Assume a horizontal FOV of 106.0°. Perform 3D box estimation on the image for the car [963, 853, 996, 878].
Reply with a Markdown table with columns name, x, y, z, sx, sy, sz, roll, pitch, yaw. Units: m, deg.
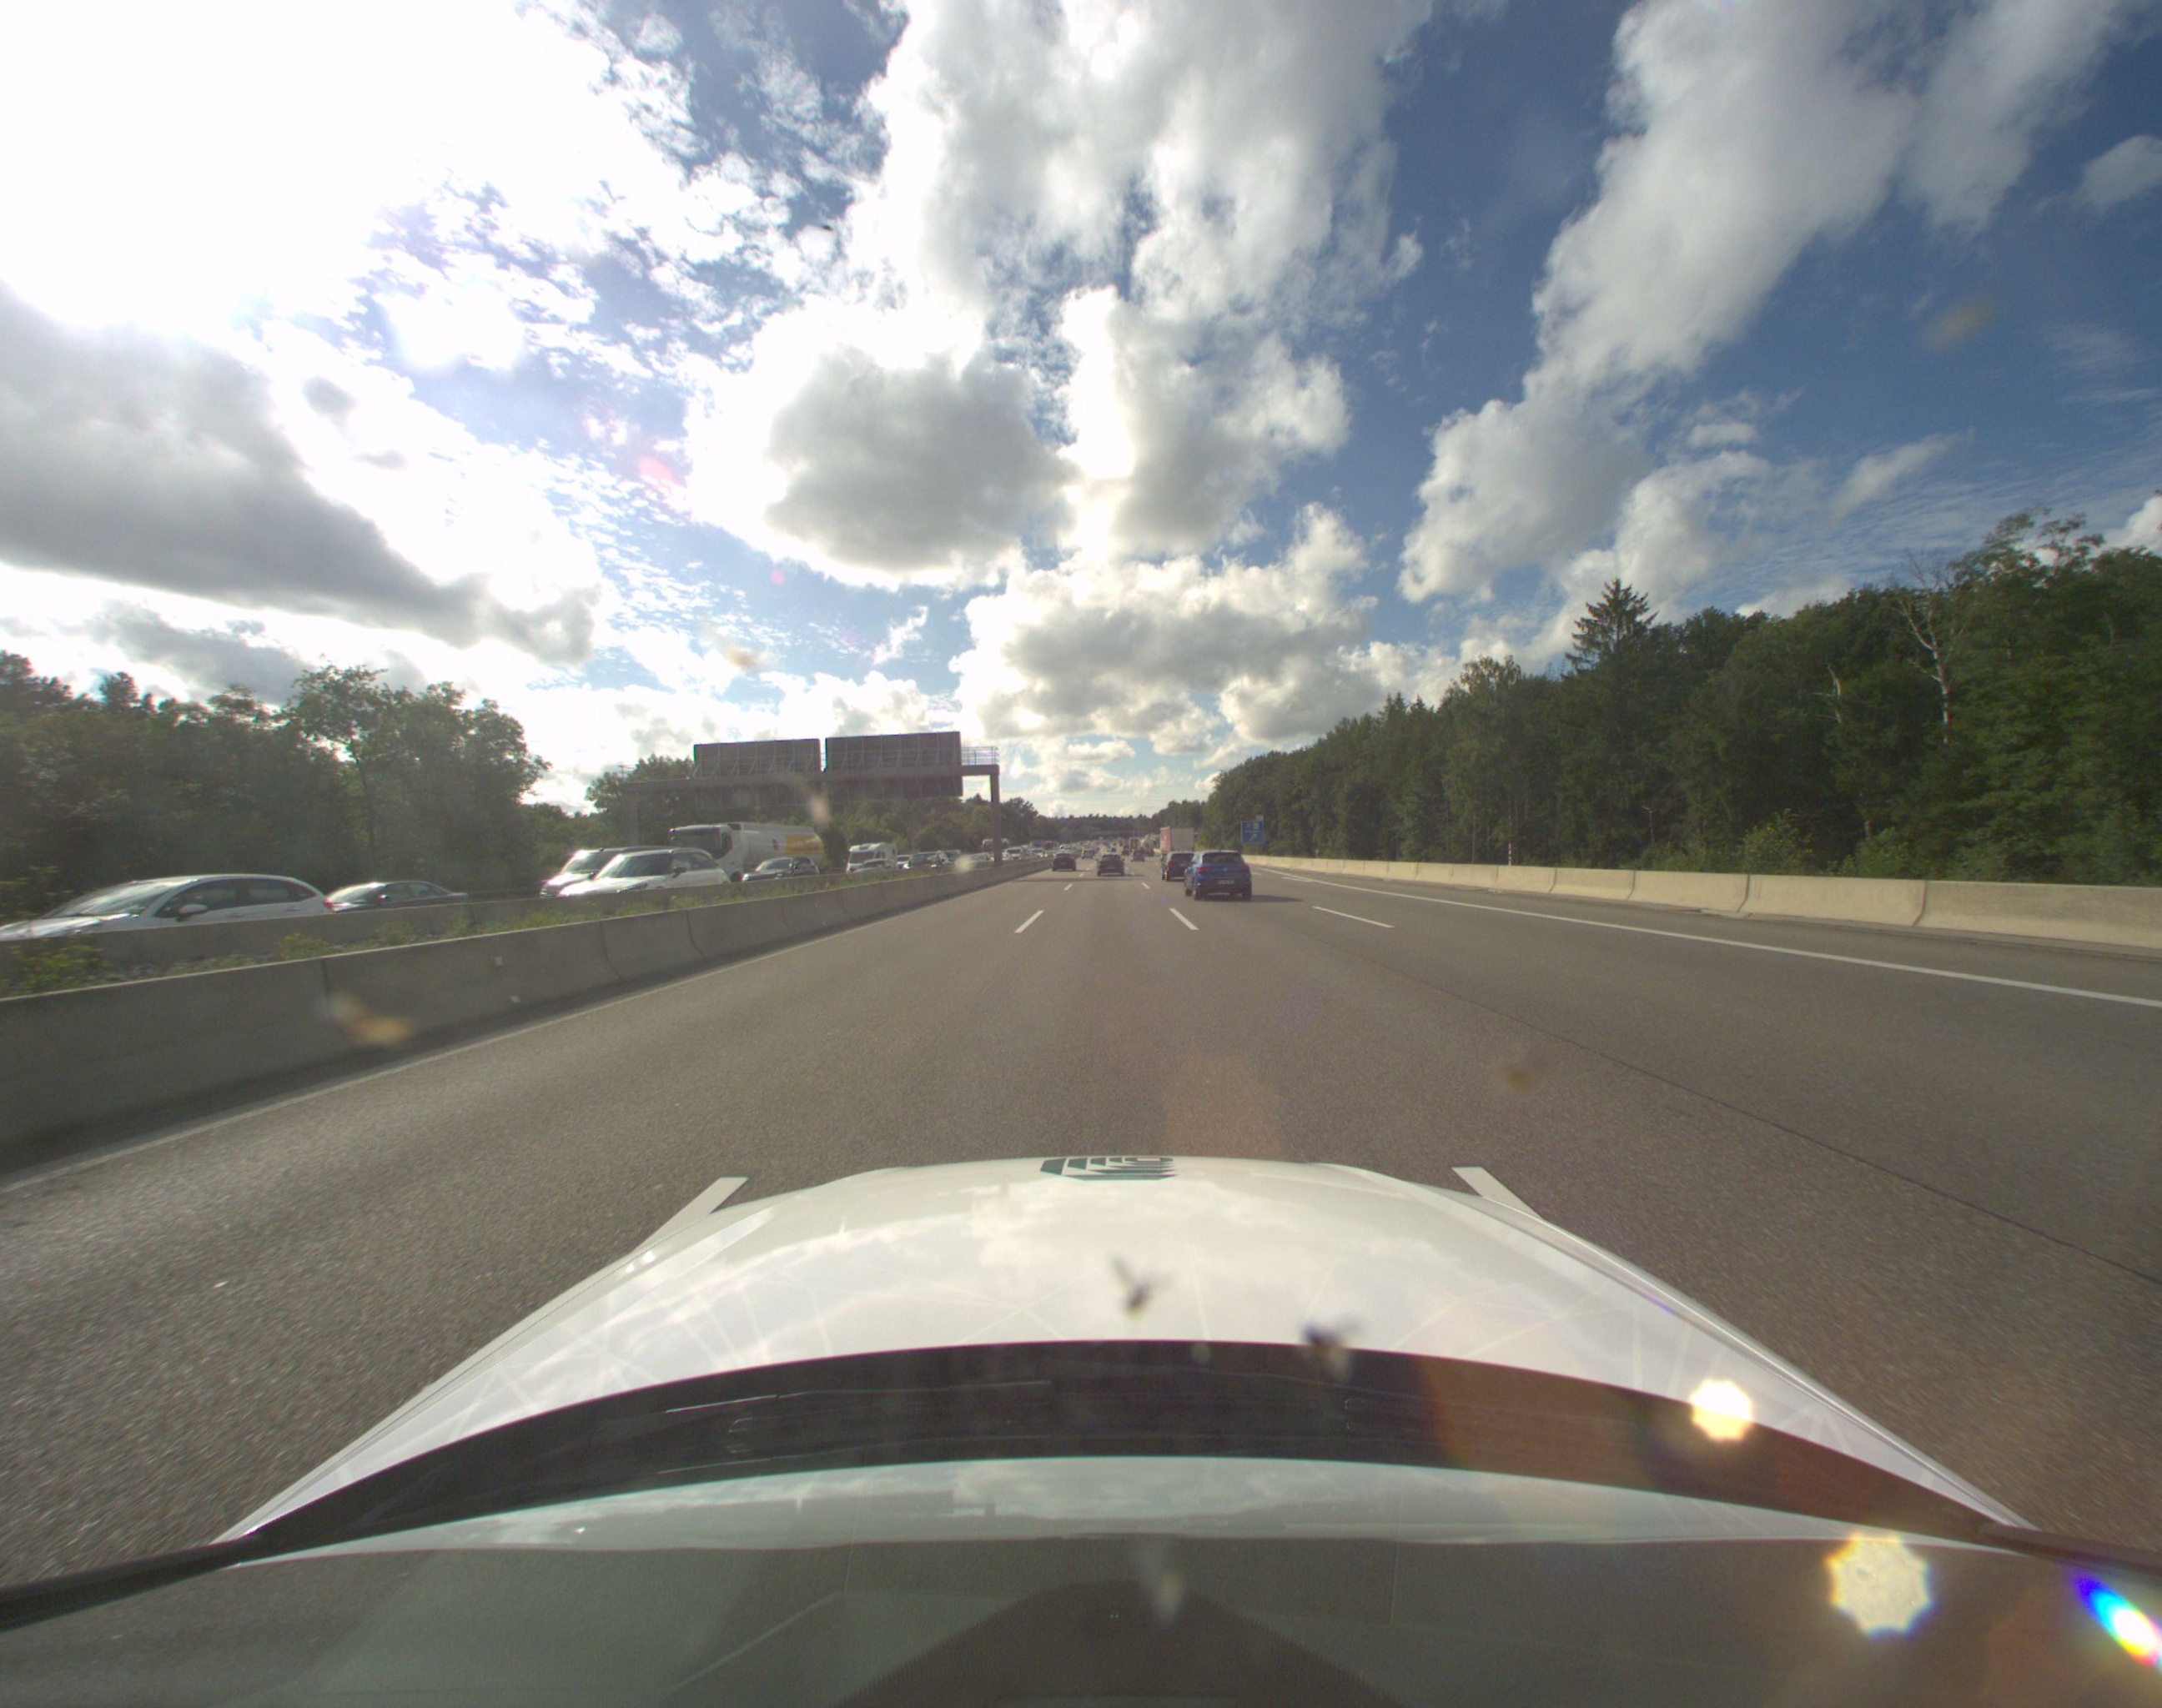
| name | x | y | z | sx | sy | sz | roll | pitch | yaw |
| --- | --- | --- | --- | --- | --- | --- | --- | --- | --- |
| car | -7.904 | 0.866 | 63.794 | 1.760 | 1.798 | 4.940 | -1 | 0 | 2 |

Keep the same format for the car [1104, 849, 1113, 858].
| name | x | y | z | sx | sy | sz | roll | pitch | yaw |
| --- | --- | --- | --- | --- | --- | --- | --- | --- | --- |
| car | 6.458 | -0.051 | 188.992 | 1.986 | 2.014 | 4.001 | -2 | -1 | 1 |

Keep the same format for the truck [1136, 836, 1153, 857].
| name | x | y | z | sx | sy | sz | roll | pitch | yaw |
| --- | --- | --- | --- | --- | --- | --- | --- | --- | --- |
| truck | 13.165 | -1.472 | 168.558 | 3.034 | 4.160 | 7.129 | -1 | 0 | 2 |

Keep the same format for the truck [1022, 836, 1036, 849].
| name | x | y | z | sx | sy | sz | roll | pitch | yaw |
| --- | --- | --- | --- | --- | --- | --- | --- | --- | --- |
| truck | -11.608 | -2.513 | 182.625 | 2.319 | 2.801 | 7.952 | 0 | 1 | 1 |

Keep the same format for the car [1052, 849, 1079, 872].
| name | x | y | z | sx | sy | sz | roll | pitch | yaw |
| --- | --- | --- | --- | --- | --- | --- | --- | --- | --- |
| car | -1.279 | 0.512 | 67.406 | 1.986 | 1.776 | 4.002 | -1 | 0 | 2 |

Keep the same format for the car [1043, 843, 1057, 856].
| name | x | y | z | sx | sy | sz | roll | pitch | yaw |
| --- | --- | --- | --- | --- | --- | --- | --- | --- | --- |
| car | -5.284 | -0.802 | 137.780 | 1.986 | 2.014 | 4.412 | -2 | -1 | 2 |

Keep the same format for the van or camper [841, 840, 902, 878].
| name | x | y | z | sx | sy | sz | roll | pitch | yaw |
| --- | --- | --- | --- | --- | --- | --- | --- | --- | --- |
| van or camper | -15.441 | 0.400 | 60.443 | 2.316 | 2.643 | 7.400 | -1 | -1 | 2 |

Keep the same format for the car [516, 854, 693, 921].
| name | x | y | z | sx | sy | sz | roll | pitch | yaw |
| --- | --- | --- | --- | --- | --- | --- | --- | --- | --- |
| car | -12.920 | 0.823 | 22.520 | 2.000 | 1.655 | 4.784 | 0 | 0 | 1 |

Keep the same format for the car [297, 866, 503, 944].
| name | x | y | z | sx | sy | sz | roll | pitch | yaw |
| --- | --- | --- | --- | --- | --- | --- | --- | --- | --- |
| car | -16.328 | 1.159 | 19.799 | 1.825 | 1.655 | 3.699 | 0 | 0 | 1 |

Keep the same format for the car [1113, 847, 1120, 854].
| name | x | y | z | sx | sy | sz | roll | pitch | yaw |
| --- | --- | --- | --- | --- | --- | --- | --- | --- | --- |
| car | 10.584 | -0.959 | 245.218 | 1.986 | 2.013 | 4.002 | 0 | 0 | 1 |

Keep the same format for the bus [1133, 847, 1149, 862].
| name | x | y | z | sx | sy | sz | roll | pitch | yaw |
| --- | --- | --- | --- | --- | --- | --- | --- | --- | --- |
| bus | 7.917 | 0.089 | 108.389 | 1.986 | 2.014 | 4.002 | -1 | -1 | 2 |

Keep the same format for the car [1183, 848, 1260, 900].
| name | x | y | z | sx | sy | sz | roll | pitch | yaw |
| --- | --- | --- | --- | --- | --- | --- | --- | --- | --- |
| car | 4.493 | 0.595 | 26.739 | 1.916 | 1.541 | 4.648 | 0 | 0 | 2 |

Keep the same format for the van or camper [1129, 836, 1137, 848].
| name | x | y | z | sx | sy | sz | roll | pitch | yaw |
| --- | --- | --- | --- | --- | --- | --- | --- | --- | --- |
| van or camper | 14.585 | -3.252 | 228.290 | 2.342 | 3.144 | 5.714 | -1 | -1 | 3 |

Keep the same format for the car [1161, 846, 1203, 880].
| name | x | y | z | sx | sy | sz | roll | pitch | yaw |
| --- | --- | --- | --- | --- | --- | --- | --- | --- | --- |
| car | 5.112 | 0.437 | 41.692 | 1.792 | 1.644 | 4.002 | 0 | 0 | 2 |

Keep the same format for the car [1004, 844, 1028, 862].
| name | x | y | z | sx | sy | sz | roll | pitch | yaw |
| --- | --- | --- | --- | --- | --- | --- | --- | --- | --- |
| car | -6.730 | -0.044 | 84.910 | 2.079 | 1.801 | 4.180 | -1 | -1 | 1 |

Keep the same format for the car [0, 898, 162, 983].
| name | x | y | z | sx | sy | sz | roll | pitch | yaw |
| --- | --- | --- | --- | --- | --- | --- | --- | --- | --- |
| car | -24.101 | 1.948 | 18.261 | 1.825 | 1.655 | 4.483 | -1 | 0 | 1 |

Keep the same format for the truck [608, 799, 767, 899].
| name | x | y | z | sx | sy | sz | roll | pitch | yaw |
| --- | --- | --- | --- | --- | --- | --- | --- | --- | --- |
| truck | -16.789 | -0.217 | 35.418 | 3.404 | 3.900 | 6.804 | -1 | 0 | 1 |

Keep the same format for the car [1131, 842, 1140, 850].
| name | x | y | z | sx | sy | sz | roll | pitch | yaw |
| --- | --- | --- | --- | --- | --- | --- | --- | --- | --- |
| car | 13.115 | -1.917 | 196.204 | 1.986 | 2.014 | 4.001 | -1 | -1 | 1 |

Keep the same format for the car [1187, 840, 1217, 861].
| name | x | y | z | sx | sy | sz | roll | pitch | yaw |
| --- | --- | --- | --- | --- | --- | --- | --- | --- | --- |
| car | 9.018 | -0.262 | 61.025 | 1.708 | 1.511 | 4.305 | -2 | 0 | 2 |

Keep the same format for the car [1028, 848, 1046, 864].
| name | x | y | z | sx | sy | sz | roll | pitch | yaw |
| --- | --- | --- | --- | --- | --- | --- | --- | --- | --- |
| car | -6.052 | 0.296 | 112.468 | 1.986 | 2.100 | 5.280 | -1 | -1 | 2 |

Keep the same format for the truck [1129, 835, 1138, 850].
| name | x | y | z | sx | sy | sz | roll | pitch | yaw |
| --- | --- | --- | --- | --- | --- | --- | --- | --- | --- |
| truck | 14.271 | -3.070 | 221.946 | 2.348 | 3.572 | 11.274 | -1 | -1 | 3 |

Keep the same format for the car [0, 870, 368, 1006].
| name | x | y | z | sx | sy | sz | roll | pitch | yaw |
| --- | --- | --- | --- | --- | --- | --- | --- | --- | --- |
| car | -13.261 | 1.055 | 11.923 | 1.825 | 1.537 | 4.244 | 0 | 0 | 1 |

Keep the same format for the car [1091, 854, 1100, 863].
| name | x | y | z | sx | sy | sz | roll | pitch | yaw |
| --- | --- | --- | --- | --- | --- | --- | --- | --- | --- |
| car | 3.097 | 0.998 | 176.043 | 1.986 | 2.014 | 4.001 | -1 | -1 | 1 |

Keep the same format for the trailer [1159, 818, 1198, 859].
| name | x | y | z | sx | sy | sz | roll | pitch | yaw |
| --- | --- | --- | --- | --- | --- | --- | --- | --- | --- |
| trailer | 10.552 | -1.569 | 89.652 | 3.027 | 4.035 | 13.894 | -1 | -1 | 2 |

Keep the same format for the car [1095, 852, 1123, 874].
| name | x | y | z | sx | sy | sz | roll | pitch | yaw |
| --- | --- | --- | --- | --- | --- | --- | --- | --- | --- |
| car | 1.810 | 0.590 | 53.043 | 1.728 | 1.365 | 4.000 | 0 | 0 | 1 |

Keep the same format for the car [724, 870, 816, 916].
| name | x | y | z | sx | sy | sz | roll | pitch | yaw |
| --- | --- | --- | --- | --- | --- | --- | --- | --- | --- |
| car | -12.522 | 1.539 | 33.120 | 1.793 | 1.631 | 4.664 | 0 | 0 | 2 |

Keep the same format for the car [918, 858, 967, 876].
| name | x | y | z | sx | sy | sz | roll | pitch | yaw |
| --- | --- | --- | --- | --- | --- | --- | --- | --- | --- |
| car | -7.790 | 0.721 | 46.354 | 1.661 | 0.927 | 5.465 | -1 | 0 | 2 |

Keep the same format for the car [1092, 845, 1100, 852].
| name | x | y | z | sx | sy | sz | roll | pitch | yaw |
| --- | --- | --- | --- | --- | --- | --- | --- | --- | --- |
| car | 4.035 | -1.470 | 216.374 | 1.986 | 2.013 | 4.002 | 0 | 0 | 1 |

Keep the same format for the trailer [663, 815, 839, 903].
| name | x | y | z | sx | sy | sz | roll | pitch | yaw |
| --- | --- | --- | --- | --- | --- | --- | --- | --- | --- |
| trailer | -16.577 | 0.192 | 42.658 | 3.399 | 3.828 | 13.265 | -1 | 0 | 2 |

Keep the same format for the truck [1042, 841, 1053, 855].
| name | x | y | z | sx | sy | sz | roll | pitch | yaw |
| --- | --- | --- | --- | --- | --- | --- | --- | --- | --- |
| truck | -10.112 | -1.870 | 245.223 | 2.766 | 3.938 | 6.854 | -1 | 1 | 1 |

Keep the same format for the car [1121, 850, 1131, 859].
| name | x | y | z | sx | sy | sz | roll | pitch | yaw |
| --- | --- | --- | --- | --- | --- | --- | --- | --- | --- |
| car | 9.653 | 0.085 | 174.242 | 1.986 | 2.013 | 4.001 | 0 | 0 | 1 |

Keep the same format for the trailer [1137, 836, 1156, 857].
| name | x | y | z | sx | sy | sz | roll | pitch | yaw |
| --- | --- | --- | --- | --- | --- | --- | --- | --- | --- |
| trailer | 13.005 | -1.362 | 162.871 | 3.025 | 4.016 | 12.248 | -1 | 0 | 1 |

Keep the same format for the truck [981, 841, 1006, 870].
| name | x | y | z | sx | sy | sz | roll | pitch | yaw |
| --- | --- | --- | --- | --- | --- | --- | --- | --- | --- |
| truck | -13.345 | 0.194 | 124.567 | 2.842 | 4.234 | 5.715 | 0 | 0 | 2 |

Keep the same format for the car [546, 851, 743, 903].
| name | x | y | z | sx | sy | sz | roll | pitch | yaw |
| --- | --- | --- | --- | --- | --- | --- | --- | --- | --- |
| car | -8.926 | 0.414 | 17.155 | 1.637 | 0.940 | 4.489 | 0 | 0 | 1 |

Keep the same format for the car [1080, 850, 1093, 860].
| name | x | y | z | sx | sy | sz | roll | pitch | yaw |
| --- | --- | --- | --- | --- | --- | --- | --- | --- | --- |
| car | 0.938 | 0.149 | 139.535 | 2.146 | 1.776 | 4.002 | 0 | 0 | 2 |
